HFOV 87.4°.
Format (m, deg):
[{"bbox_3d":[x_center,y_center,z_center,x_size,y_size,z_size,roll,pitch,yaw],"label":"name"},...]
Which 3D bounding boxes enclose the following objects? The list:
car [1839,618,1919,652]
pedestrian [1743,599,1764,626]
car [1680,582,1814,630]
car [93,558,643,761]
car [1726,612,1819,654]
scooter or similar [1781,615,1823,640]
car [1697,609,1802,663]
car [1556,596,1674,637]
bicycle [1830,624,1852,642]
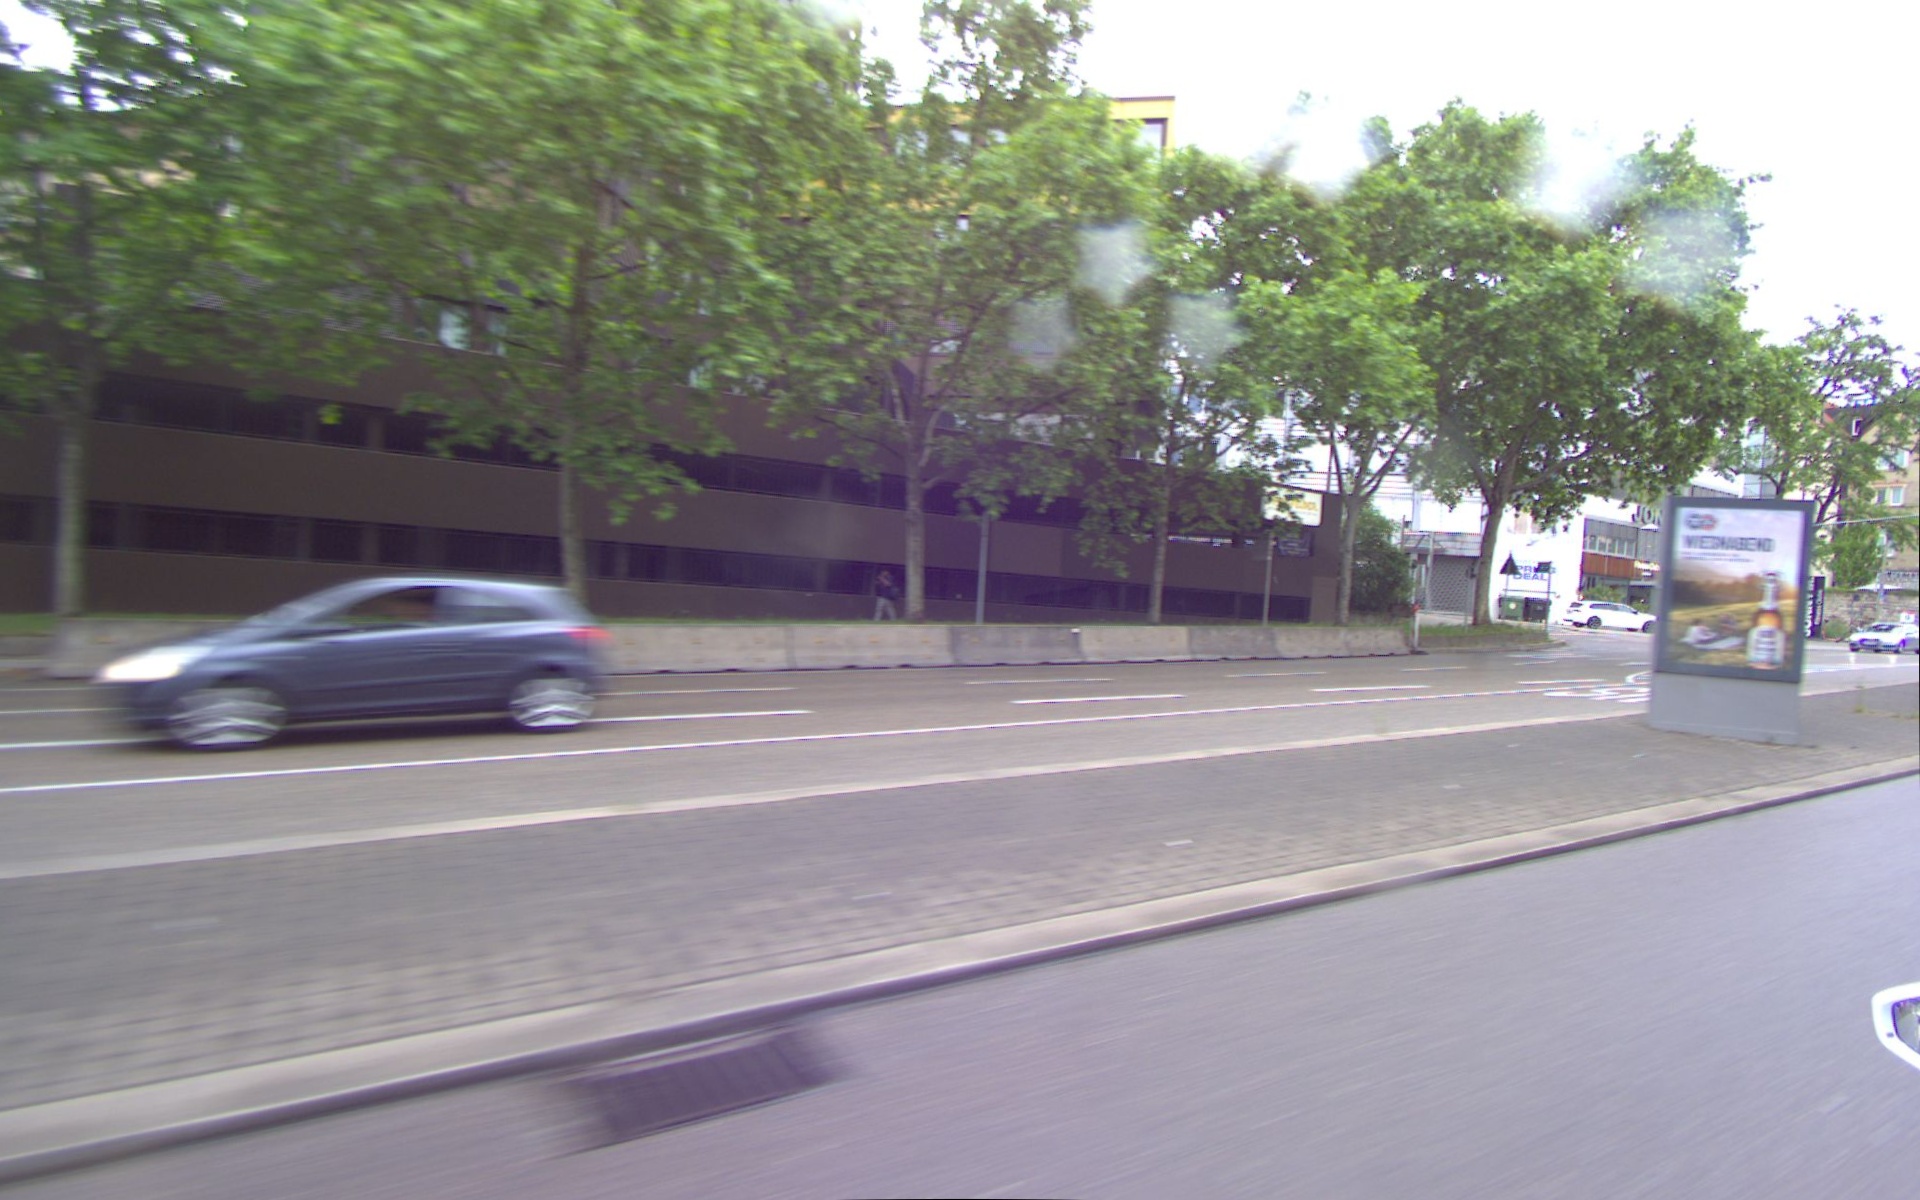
[{"bbox_3d":[43.178,1.621,47.089,4.836,1.466,1.979,2,0,-37],"label":"car"},{"bbox_3d":[50.793,0.787,64.274,0.832,1.663,0.764,1,0,-31],"label":"pedestrian"},{"bbox_3d":[55.699,0.356,71.320,2.483,2.307,6.869,-1,9,-29],"label":"car"},{"bbox_3d":[-5.354,0.443,9.519,4.131,1.520,1.921,0,1,-35],"label":"car"},{"bbox_3d":[32.164,1.303,39.739,4.127,1.539,1.743,1,0,-34],"label":"car"},{"bbox_3d":[49.035,1.577,58.501,1.724,1.263,0.369,6,3,30],"label":"scooter or similar"},{"bbox_3d":[24.566,1.109,31.213,3.708,1.539,1.740,2,0,-38],"label":"car"},{"bbox_3d":[34.884,0.855,53.631,4.746,1.676,2.001,5,2,8],"label":"car"},{"bbox_3d":[53.029,1.976,60.437,1.738,1.004,0.454,3,1,-31],"label":"bicycle"}]
